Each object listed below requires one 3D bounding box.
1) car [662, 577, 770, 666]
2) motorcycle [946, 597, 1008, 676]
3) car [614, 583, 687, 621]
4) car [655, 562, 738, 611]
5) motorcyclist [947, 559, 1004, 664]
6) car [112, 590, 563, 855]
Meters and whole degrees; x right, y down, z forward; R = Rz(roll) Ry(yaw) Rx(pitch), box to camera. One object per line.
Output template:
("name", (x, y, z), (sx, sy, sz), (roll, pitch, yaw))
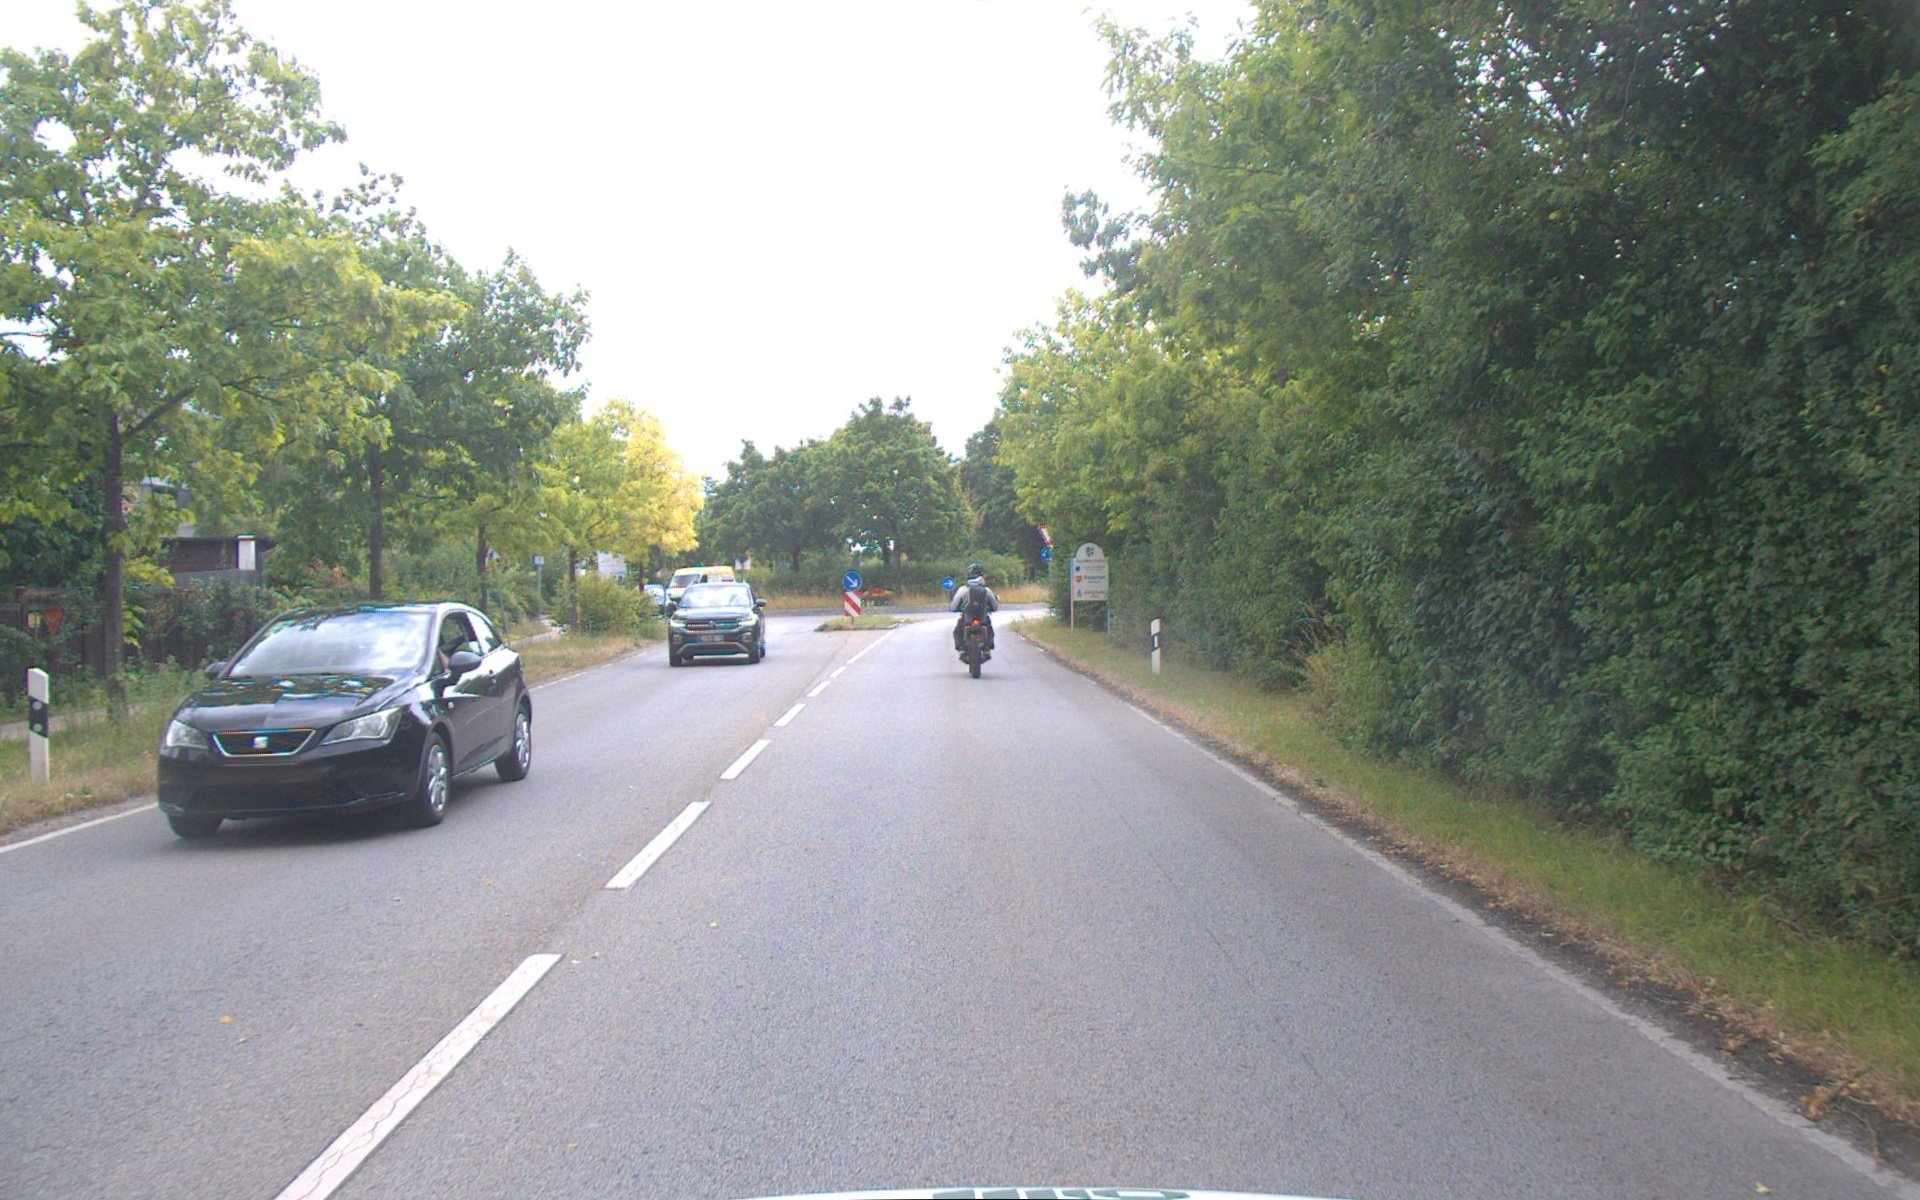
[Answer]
("car", (-4.752, 0.379, 32.693), (1.699, 1.561, 4.092), (-3, 1, -4))
("motorcycle", (0.255, 0.560, 26.799), (0.878, 1.178, 2.619), (-1, 1, -2))
("car", (-14.569, 0.106, 77.652), (1.723, 1.613, 4.303), (-3, 1, -34))
("car", (-14.390, -0.776, 90.611), (2.117, 2.494, 5.445), (-1, 1, 19))
("motorcyclist", (0.239, 0.179, 26.853), (0.844, 1.652, 1.190), (-1, 0, -2))
("car", (-4.115, 0.702, 11.670), (1.642, 1.436, 4.012), (-3, 1, -1))
